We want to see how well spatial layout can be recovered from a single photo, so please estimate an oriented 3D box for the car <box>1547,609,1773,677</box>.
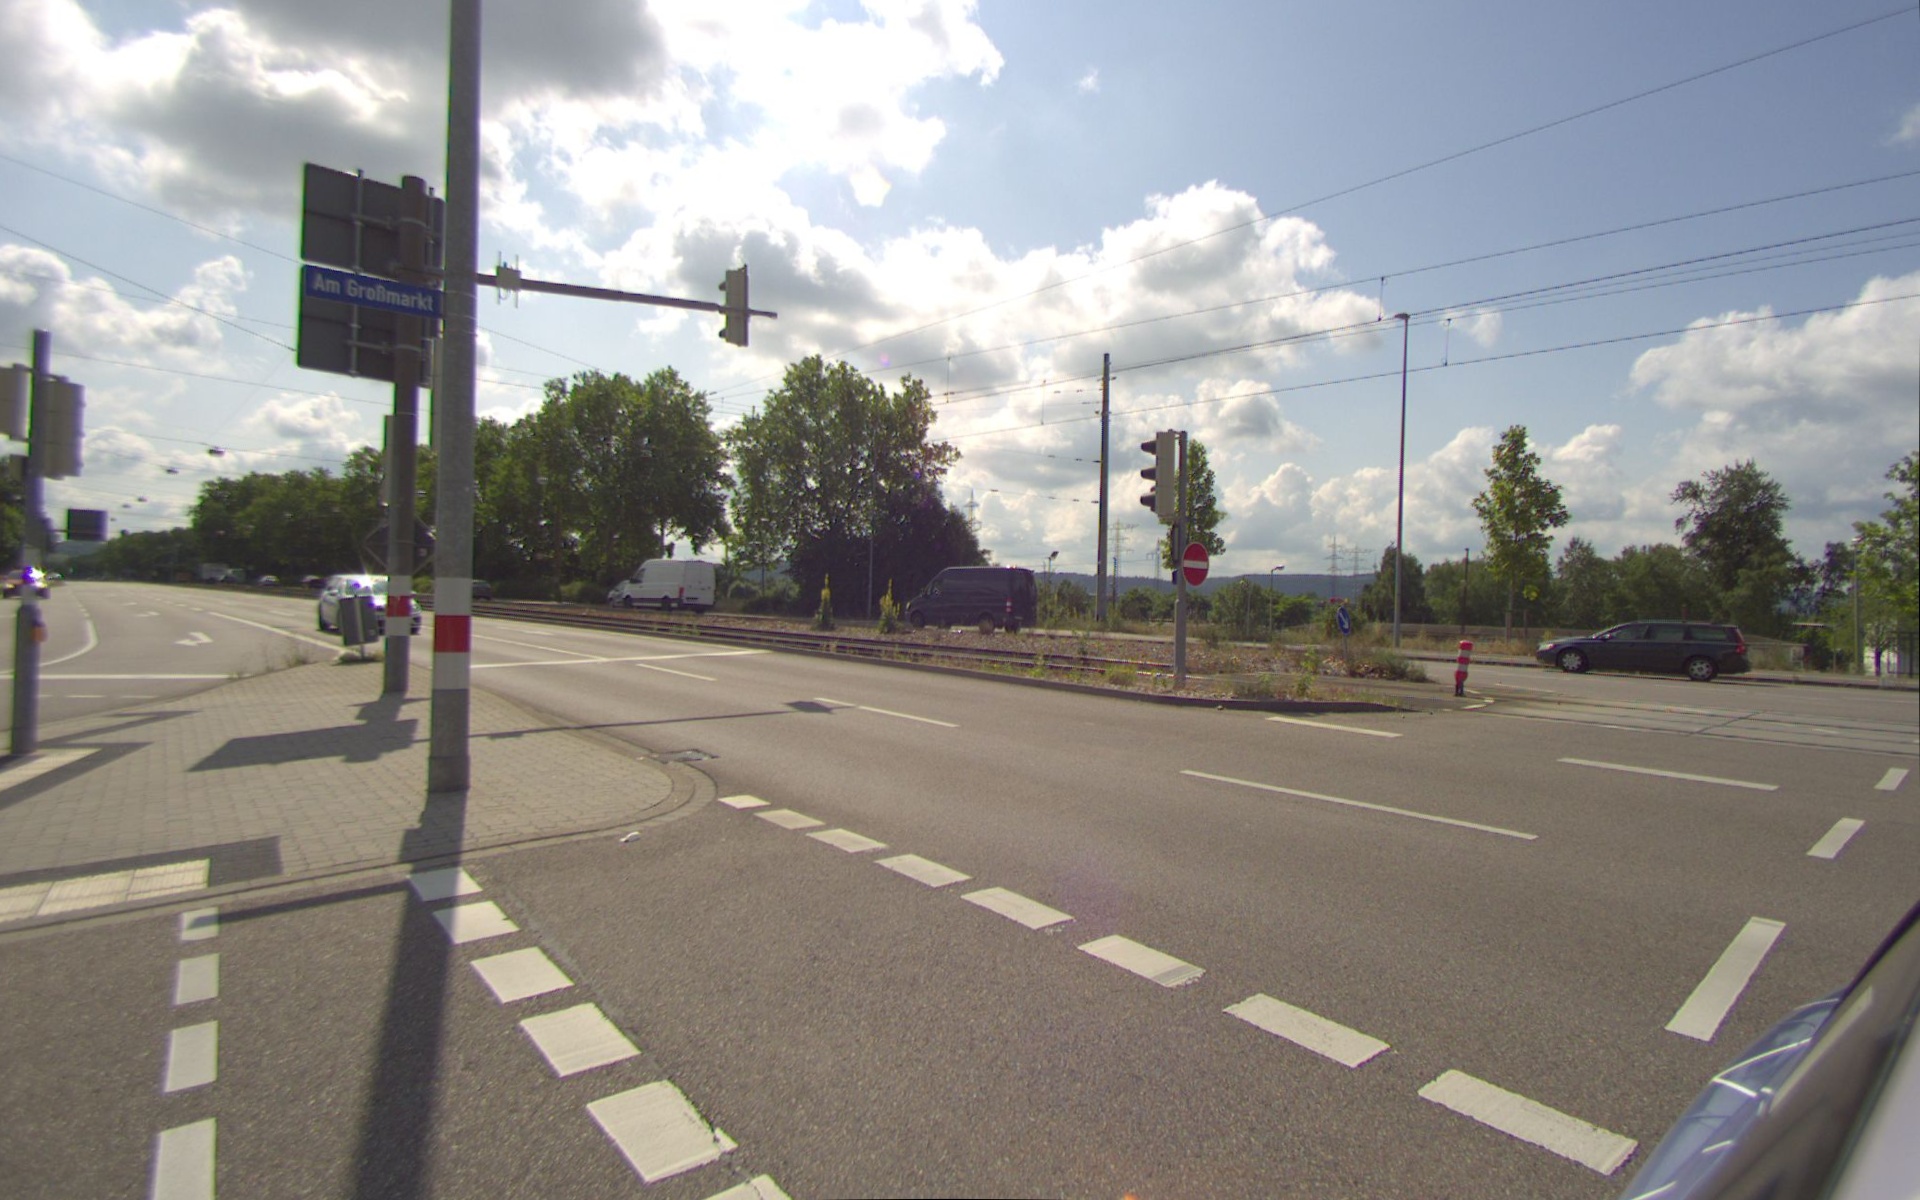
[{"bbox_3d":[18.307,1.094,26.607,4.758,1.527,1.939,1,-2,39],"label":"car"}]
